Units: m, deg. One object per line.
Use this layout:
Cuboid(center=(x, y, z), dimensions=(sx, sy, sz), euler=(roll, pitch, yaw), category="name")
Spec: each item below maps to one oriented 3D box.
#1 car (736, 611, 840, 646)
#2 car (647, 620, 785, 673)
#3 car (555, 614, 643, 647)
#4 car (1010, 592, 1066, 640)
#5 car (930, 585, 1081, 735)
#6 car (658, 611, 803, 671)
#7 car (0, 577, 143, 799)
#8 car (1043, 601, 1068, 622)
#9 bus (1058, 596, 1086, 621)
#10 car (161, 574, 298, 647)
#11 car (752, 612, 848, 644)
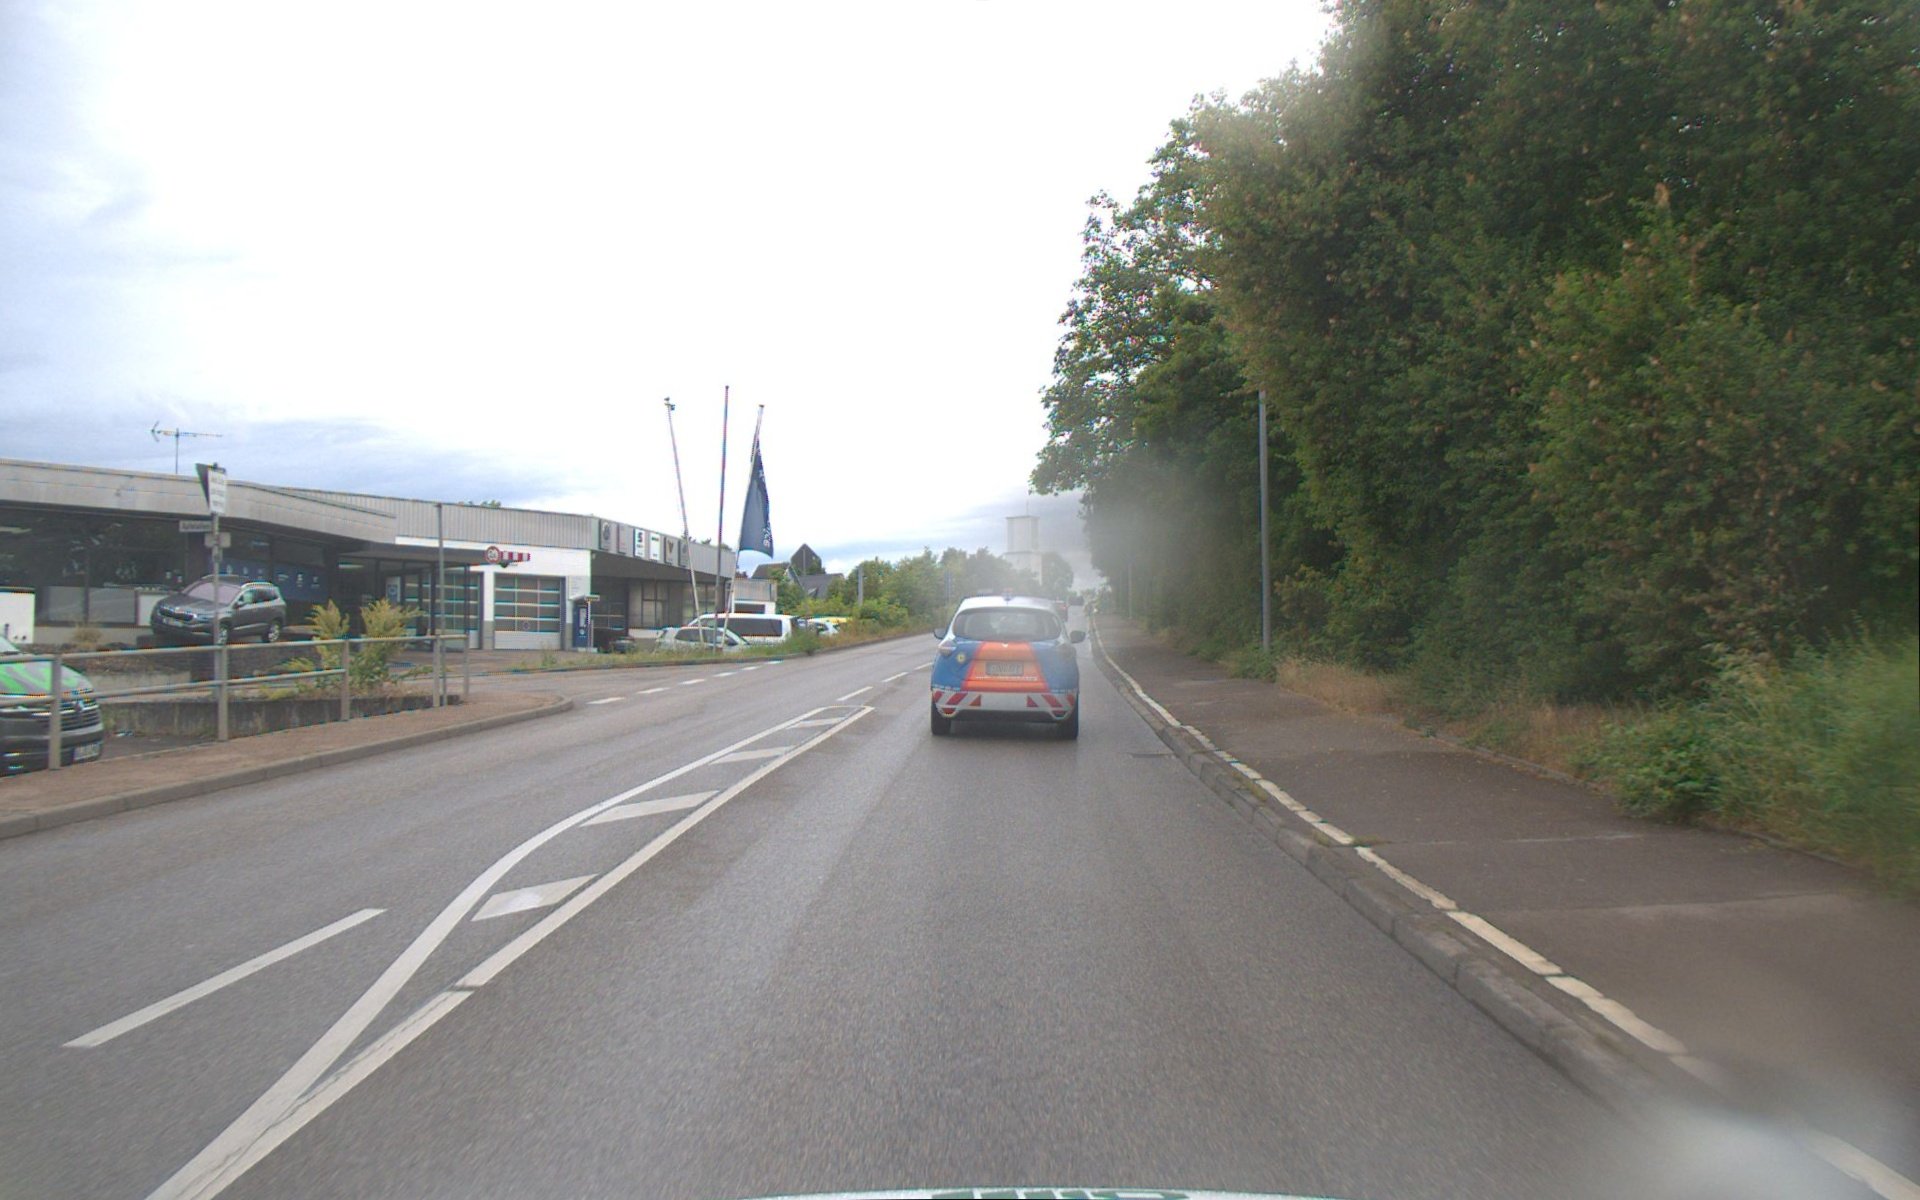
Cuboid(center=(-7.243, 1.189, 69.815), dimensions=(4.139, 1.392, 1.875), euler=(-1, 0, 1), category="car")
Cuboid(center=(-7.527, 1.431, 51.218), dimensions=(3.925, 1.504, 1.824), euler=(-1, 0, 3), category="car")
Cuboid(center=(-16.848, 1.431, 77.161), dimensions=(3.944, 1.441, 1.945), euler=(-1, 0, 38), category="car")
Cuboid(center=(2.736, 0.572, 58.678), dimensions=(1.765, 1.618, 3.562), euler=(-1, -1, 0), category="car")
Cuboid(center=(0.623, 0.693, 19.760), dimensions=(1.622, 1.621, 3.570), euler=(0, -1, 4), category="car")
Cuboid(center=(-7.423, 1.322, 53.762), dimensions=(4.320, 1.829, 1.935), euler=(-1, 0, 3), category="car")
Cuboid(center=(-10.380, 0.816, 14.993), dimensions=(4.968, 1.903, 1.821), euler=(-1, -1, -5), category="car")
Cuboid(center=(6.704, 0.823, 116.369), dimensions=(1.581, 1.432, 3.498), euler=(-1, -1, 2), category="car")
Cuboid(center=(15.168, 1.240, 225.182), dimensions=(2.851, 3.225, 11.463), euler=(-1, -1, -1), category="bus")
Cuboid(center=(-19.444, 0.290, 44.197), dimensions=(1.369, 1.831, 4.254), euler=(-1, -1, 6), category="car")
Cuboid(center=(-6.970, 1.212, 72.459), dimensions=(3.979, 1.313, 1.805), euler=(-1, 0, 1), category="car")
